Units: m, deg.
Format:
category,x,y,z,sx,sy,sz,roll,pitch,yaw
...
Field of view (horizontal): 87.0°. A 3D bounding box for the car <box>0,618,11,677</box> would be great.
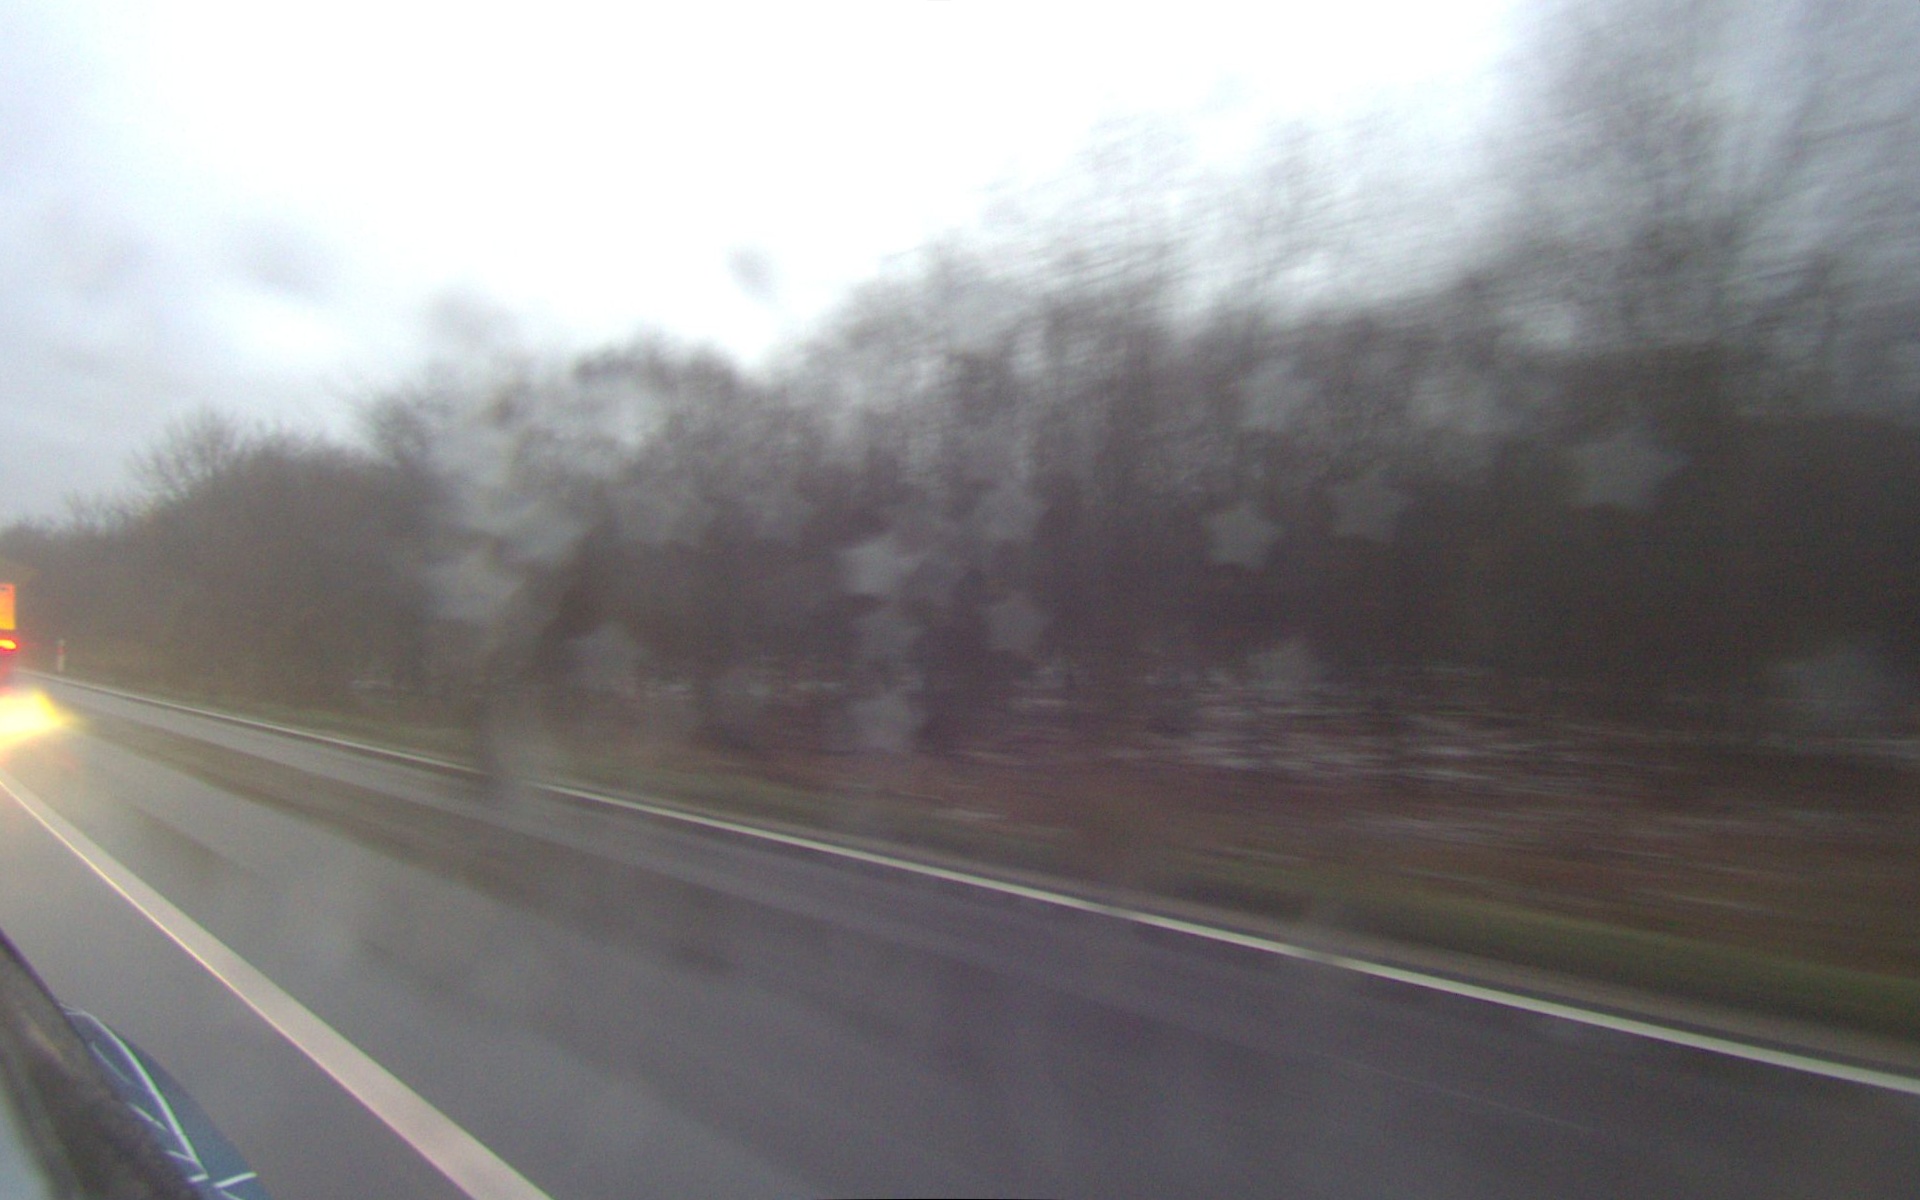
category,x,y,z,sx,sy,sz,roll,pitch,yaw
car,-27.692,1.368,28.024,4.127,1.572,1.676,-3,-1,42
